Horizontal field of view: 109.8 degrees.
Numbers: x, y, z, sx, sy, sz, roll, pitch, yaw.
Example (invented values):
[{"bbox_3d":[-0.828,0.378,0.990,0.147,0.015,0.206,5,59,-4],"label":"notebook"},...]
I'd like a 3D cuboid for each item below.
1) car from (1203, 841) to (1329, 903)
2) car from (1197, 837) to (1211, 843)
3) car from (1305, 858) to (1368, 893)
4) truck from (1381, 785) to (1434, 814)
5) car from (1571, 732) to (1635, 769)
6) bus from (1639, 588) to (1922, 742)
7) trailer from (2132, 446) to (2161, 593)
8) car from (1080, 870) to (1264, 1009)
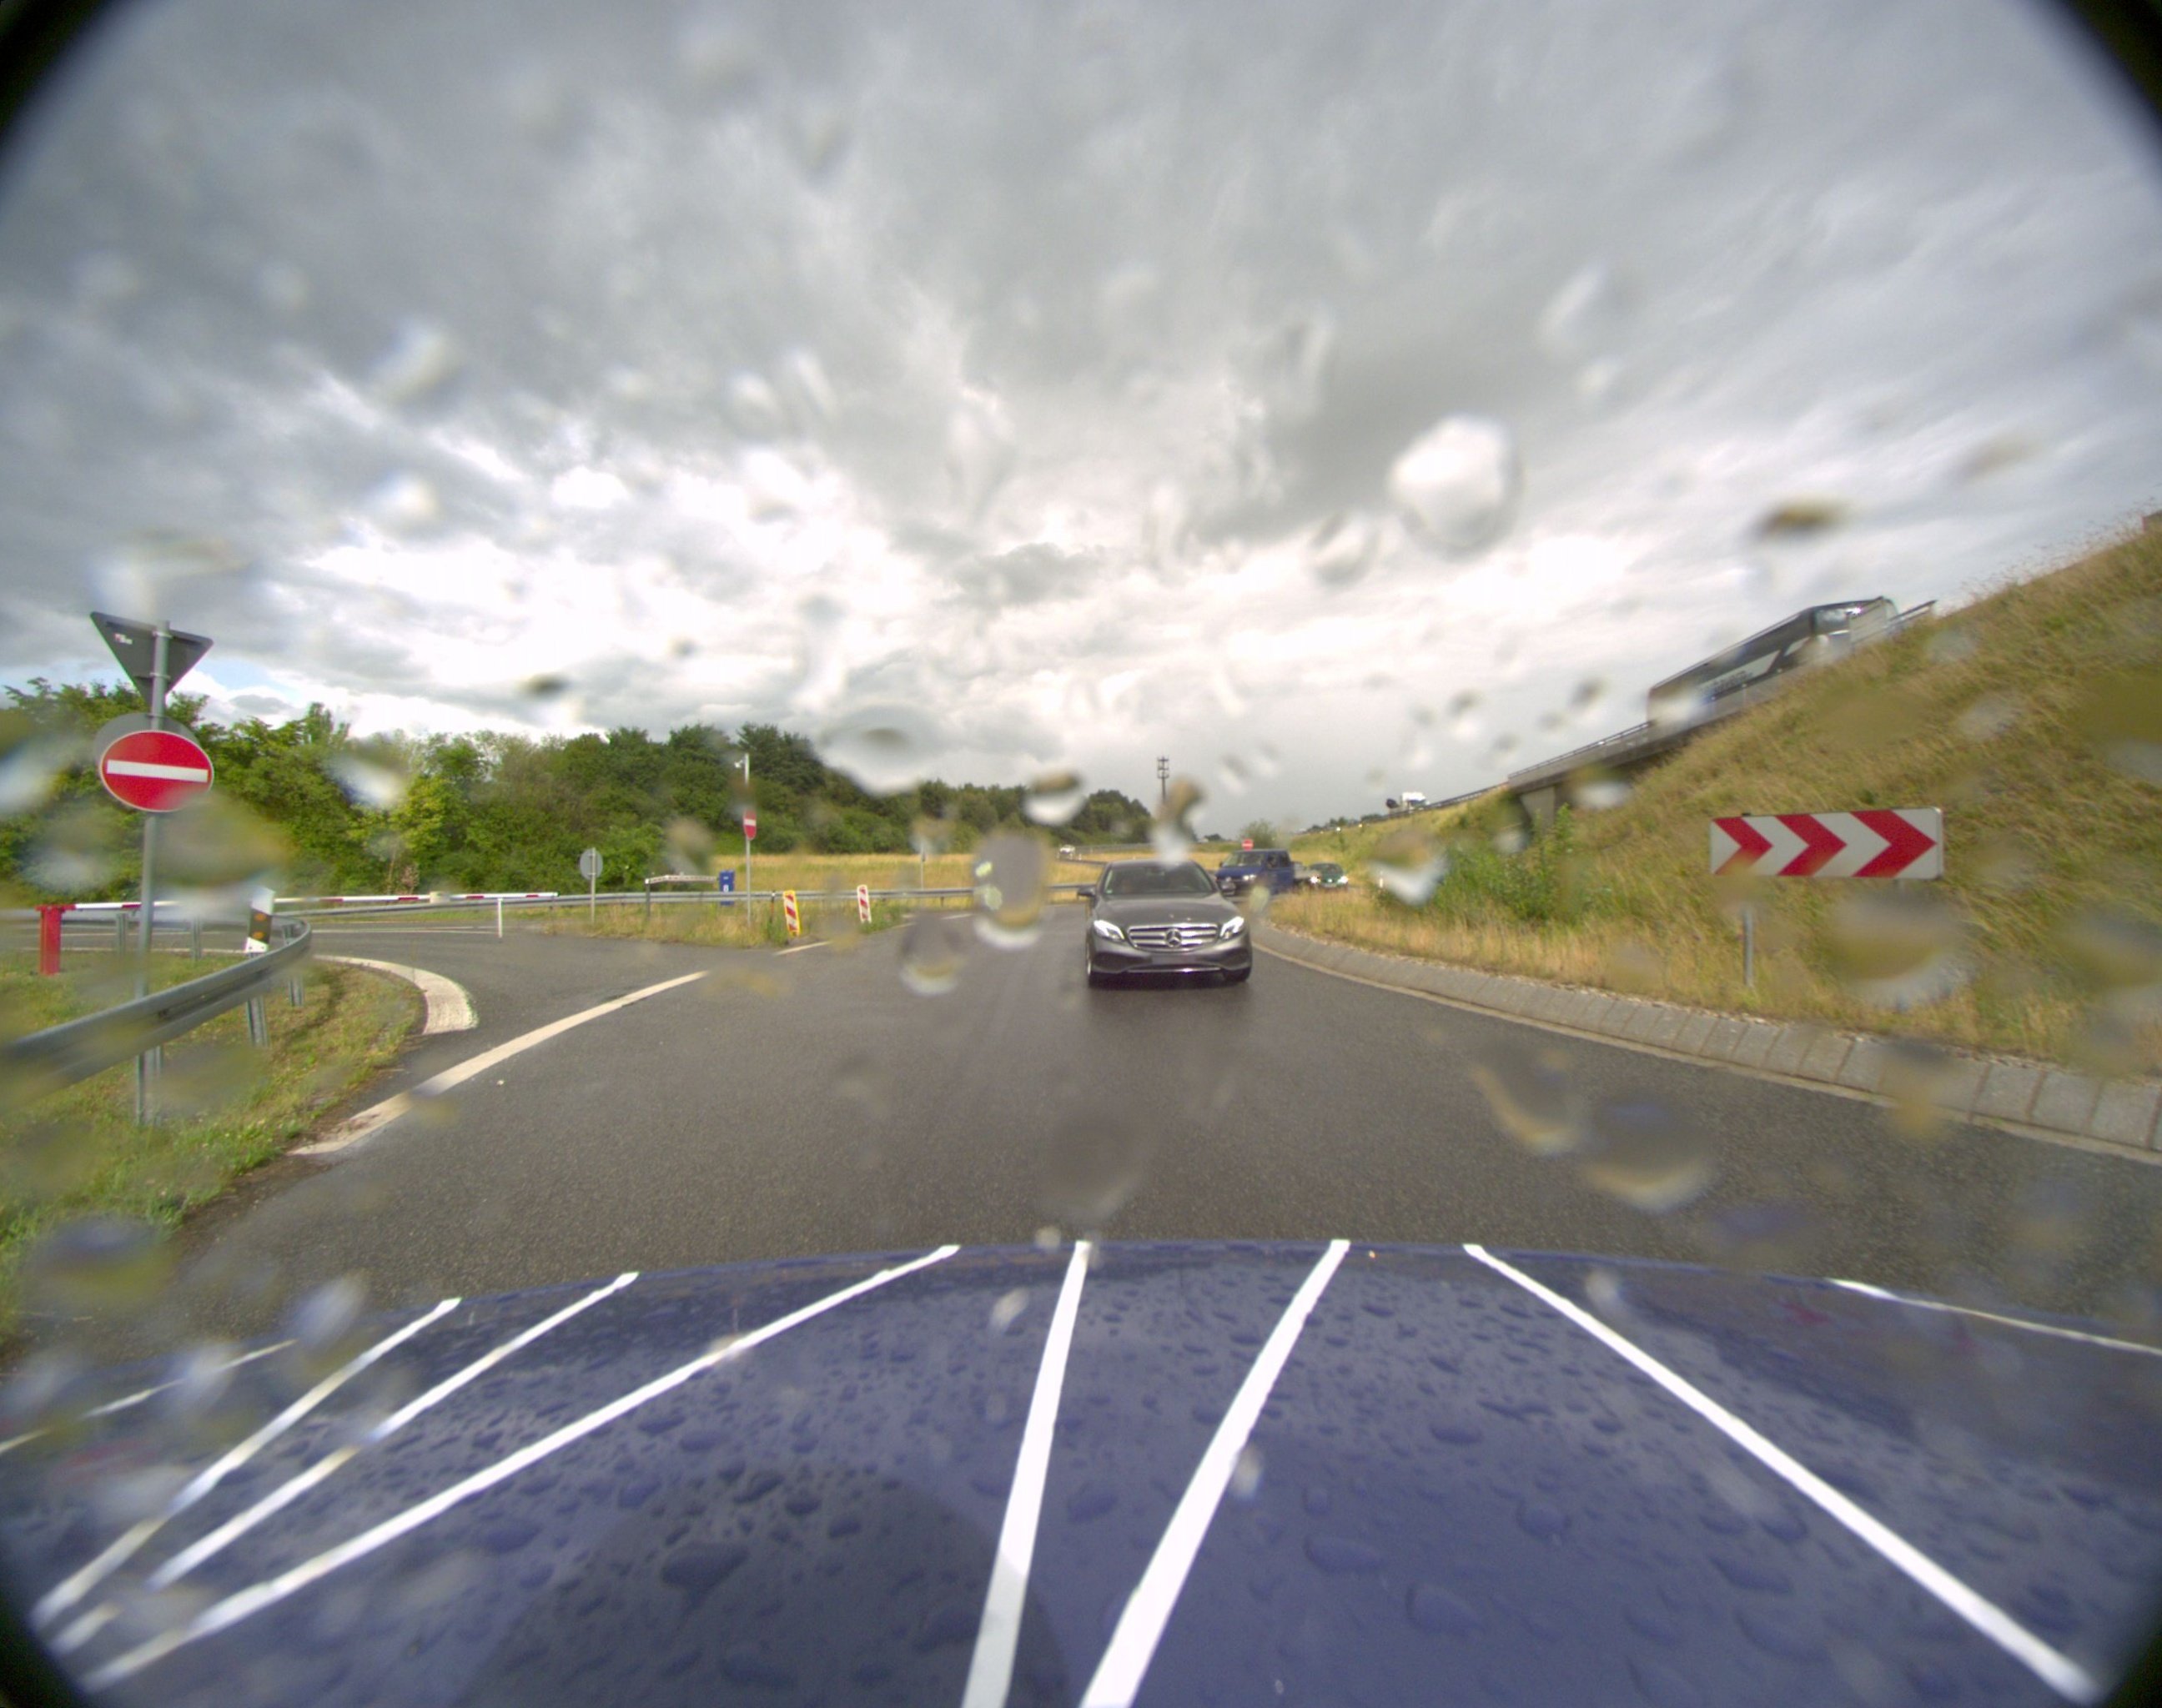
[{"bbox_3d":[7.056,0.612,28.498,1.889,1.904,5.692,-3,1,44],"label":"car"},{"bbox_3d":[33.399,-3.751,206.012,1.762,1.633,3.902,-2,0,43],"label":"car"},{"bbox_3d":[11.356,0.908,33.623,1.770,1.476,3.842,0,0,33],"label":"car"},{"bbox_3d":[44.331,-7.366,103.479,3.159,3.176,9.279,-2,0,0],"label":"truck"},{"bbox_3d":[34.305,-6.766,50.087,1.711,1.517,4.497,-11,-2,12],"label":"car"},{"bbox_3d":[28.771,-7.383,32.733,2.608,3.061,14.480,-2,0,16],"label":"bus"},{"bbox_3d":[22.403,-7.042,12.073,2.182,2.854,8.342,-2,0,18],"label":"trailer"},{"bbox_3d":[0.913,0.922,9.950,1.770,1.383,4.592,0,-1,-1],"label":"car"}]
